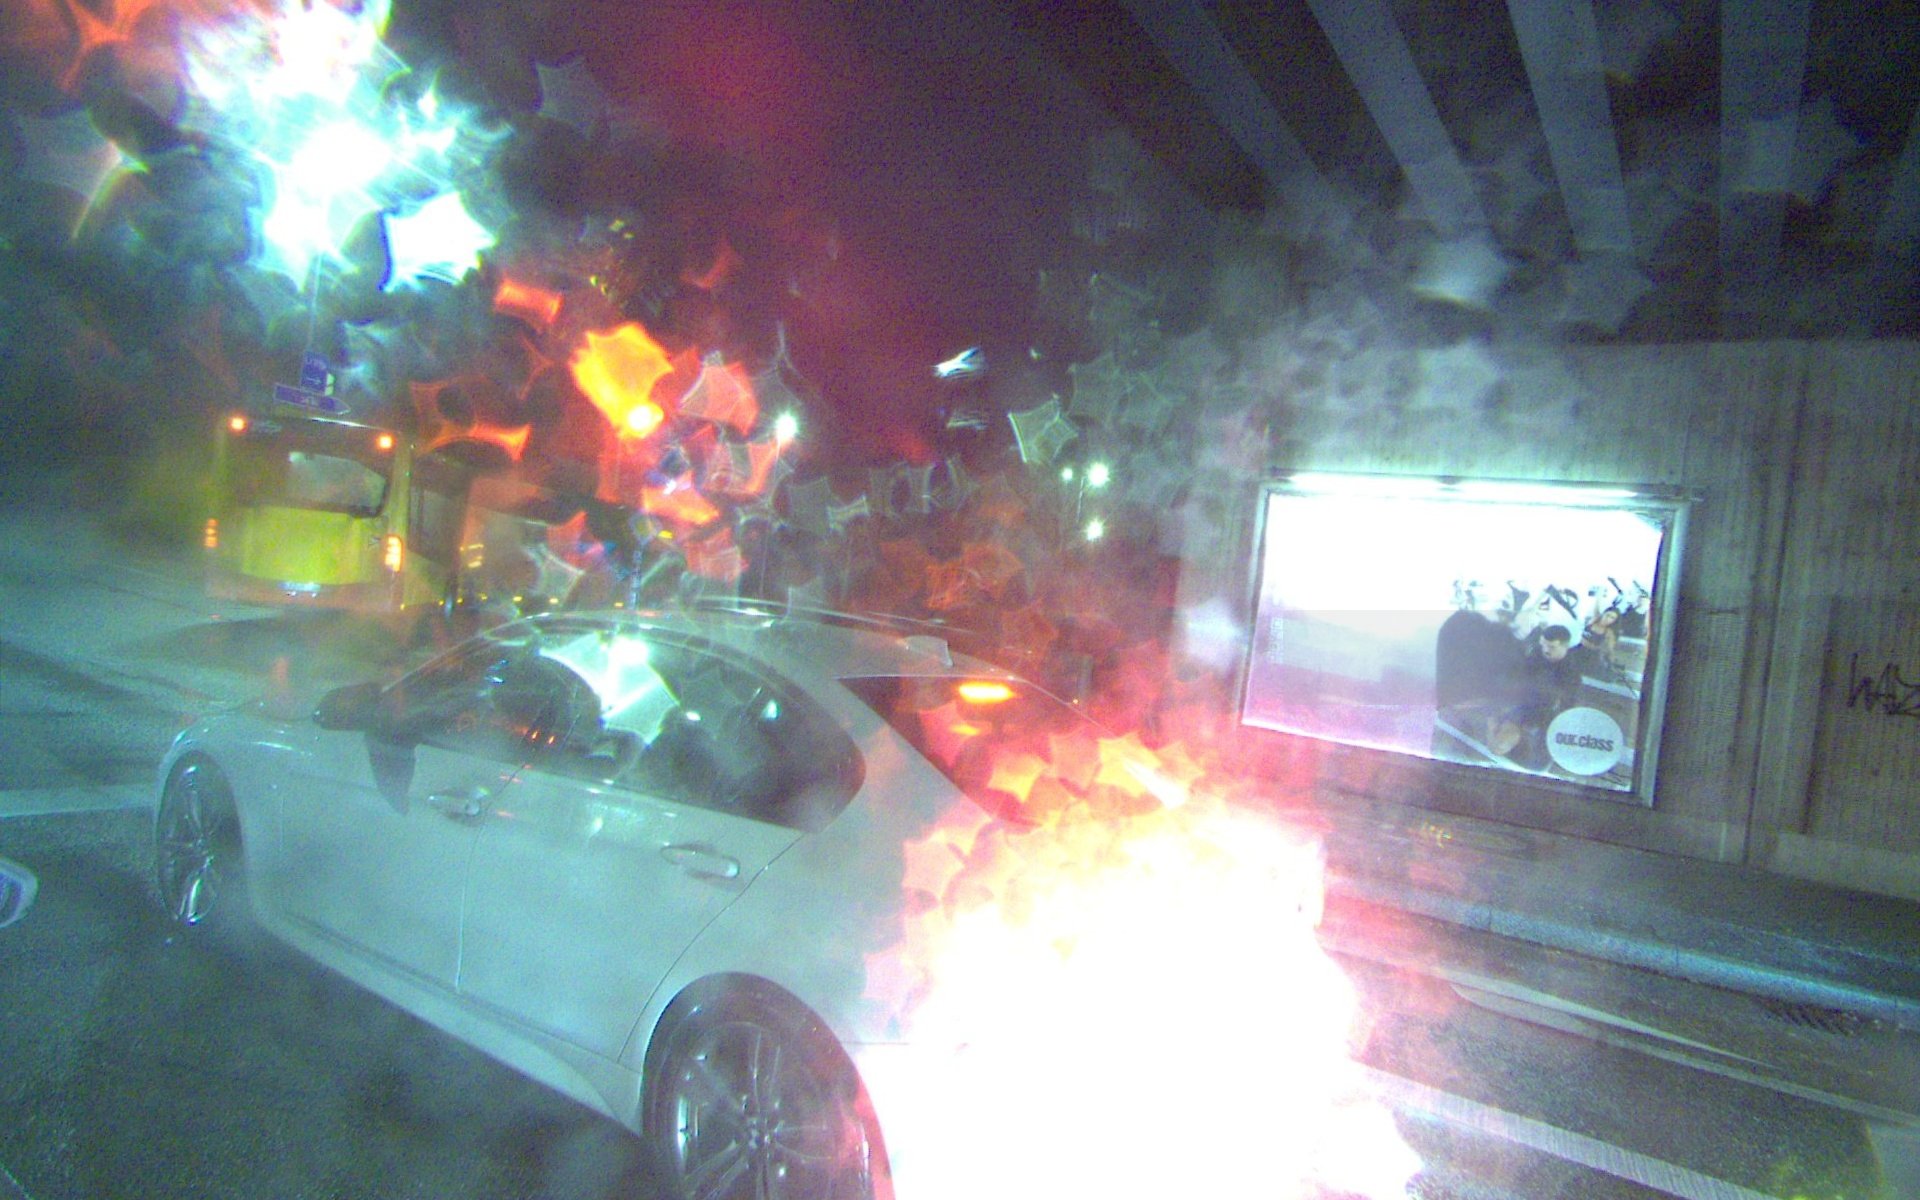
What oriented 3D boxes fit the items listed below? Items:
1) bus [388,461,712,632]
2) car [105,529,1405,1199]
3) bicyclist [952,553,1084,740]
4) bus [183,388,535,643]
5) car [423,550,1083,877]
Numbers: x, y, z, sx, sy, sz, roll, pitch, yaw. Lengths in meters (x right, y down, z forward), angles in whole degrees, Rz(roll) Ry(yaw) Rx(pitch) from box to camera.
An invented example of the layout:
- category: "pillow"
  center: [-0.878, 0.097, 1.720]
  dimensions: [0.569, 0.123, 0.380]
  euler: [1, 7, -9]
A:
- category: "bus"
  center: [-10.159, -1.032, 26.718]
  dimensions: [2.725, 3.159, 9.774]
  euler: [8, -2, 11]
- category: "car"
  center: [-0.956, 0.712, 3.485]
  dimensions: [4.277, 1.420, 1.720]
  euler: [6, -2, 32]
- category: "bicyclist"
  center: [0.609, 0.481, 10.404]
  dimensions: [0.886, 1.783, 0.798]
  euler: [6, -1, 32]
- category: "bus"
  center: [-10.376, -1.163, 18.864]
  dimensions: [2.736, 3.159, 9.735]
  euler: [8, -2, -15]
- category: "car"
  center: [-1.616, 0.671, 7.505]
  dimensions: [4.548, 1.495, 1.843]
  euler: [6, -2, 27]
